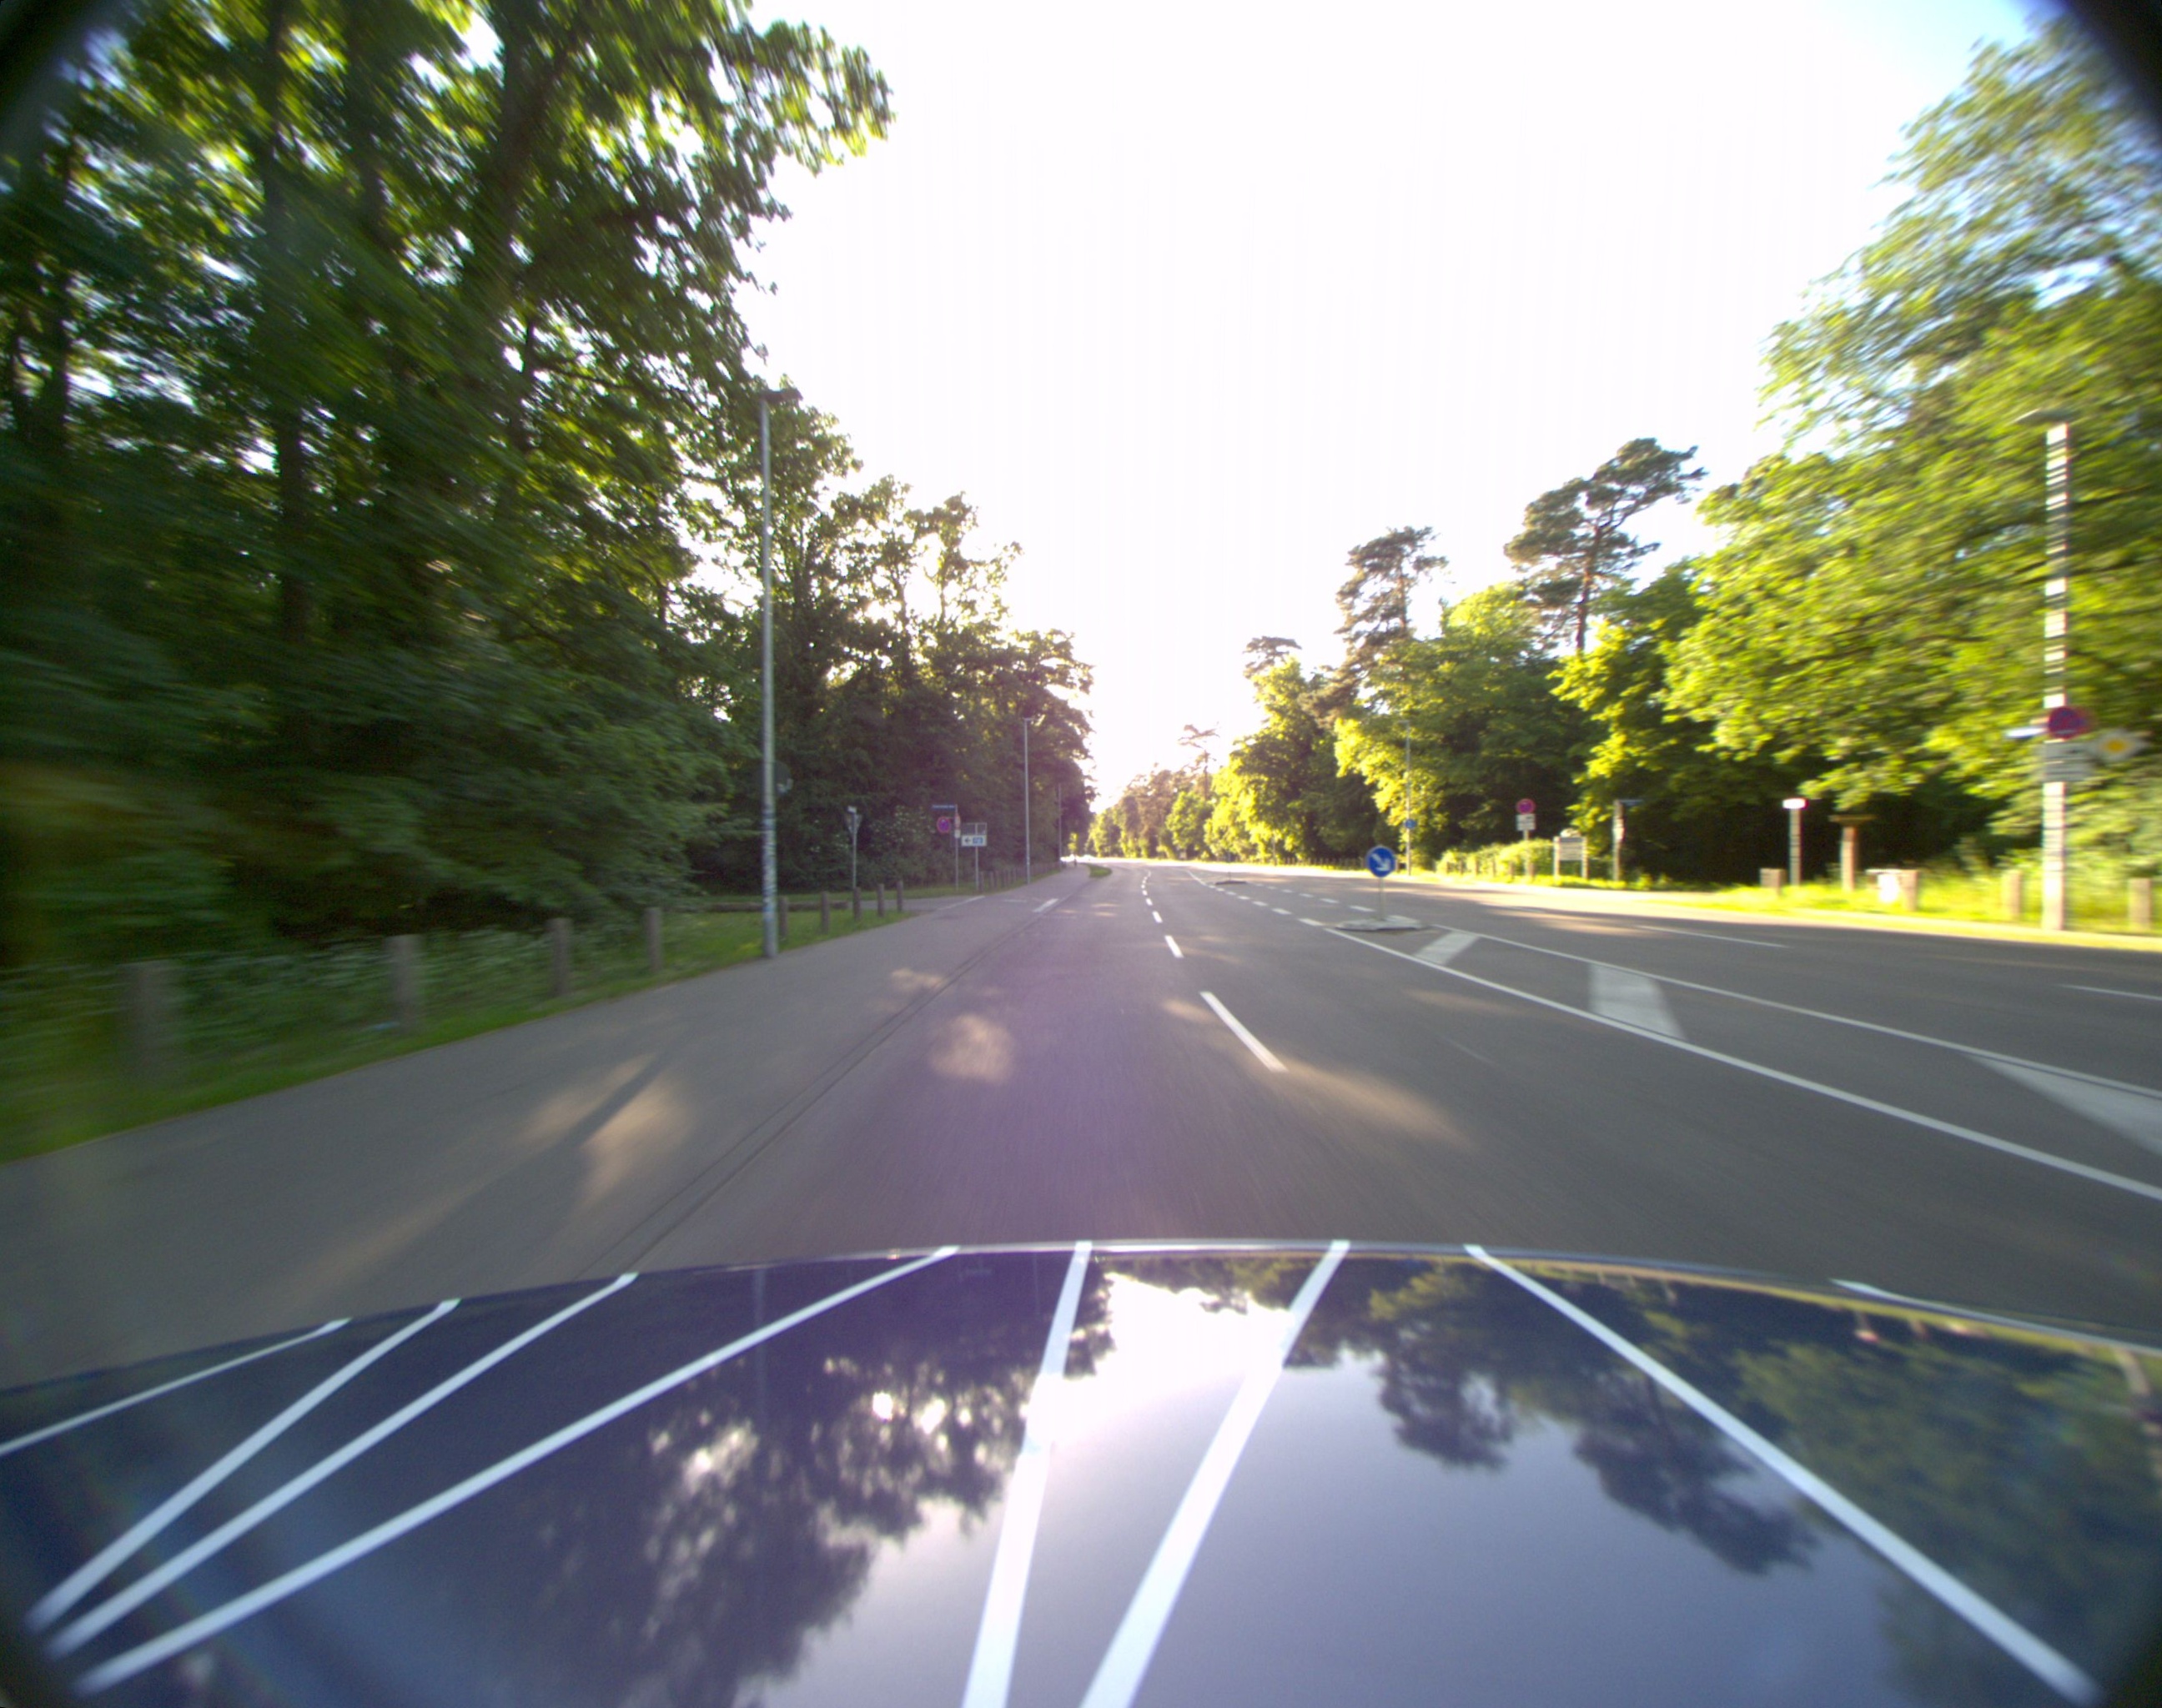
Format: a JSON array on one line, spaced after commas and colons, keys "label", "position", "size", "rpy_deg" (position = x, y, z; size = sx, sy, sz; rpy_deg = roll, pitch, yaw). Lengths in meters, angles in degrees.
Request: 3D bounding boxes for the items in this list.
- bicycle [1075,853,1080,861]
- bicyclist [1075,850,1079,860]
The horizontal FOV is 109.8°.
[{"label": "bicycle", "position": [-0.478, 0.429, 101.569], "size": [0.608, 1.051, 2.874], "rpy_deg": [-1, 0, -2]}, {"label": "bicyclist", "position": [-0.496, 0.117, 102.023], "size": [0.514, 1.260, 0.497], "rpy_deg": [-1, 1, -2]}]
